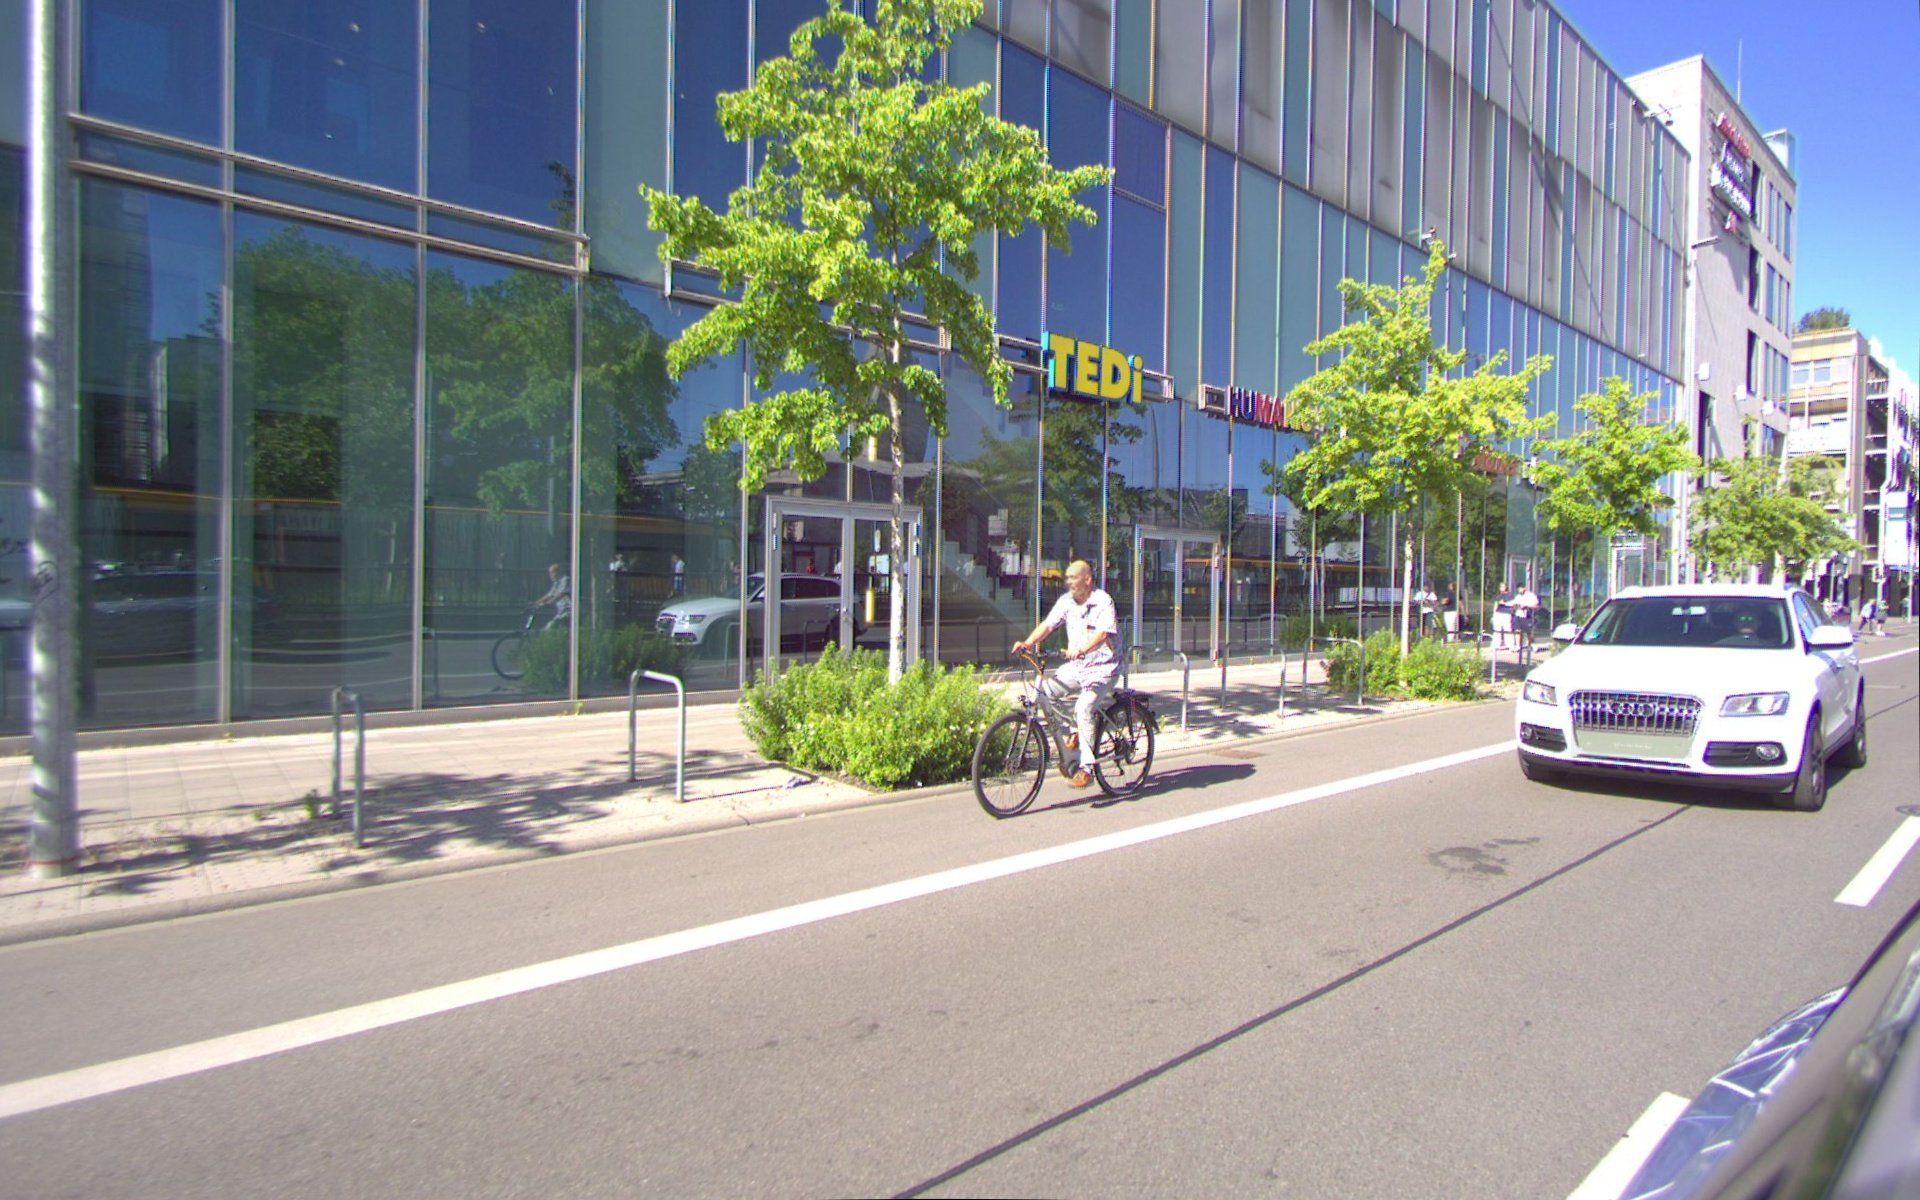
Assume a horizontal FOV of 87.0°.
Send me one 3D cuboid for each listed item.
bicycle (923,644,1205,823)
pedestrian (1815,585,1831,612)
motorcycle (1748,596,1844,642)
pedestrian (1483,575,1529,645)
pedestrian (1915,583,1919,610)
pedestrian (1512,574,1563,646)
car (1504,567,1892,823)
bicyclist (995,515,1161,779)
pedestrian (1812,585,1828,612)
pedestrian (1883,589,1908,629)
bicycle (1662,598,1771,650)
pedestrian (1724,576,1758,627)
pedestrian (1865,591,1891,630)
[{"bbox_3d":[0.826,0.872,7.318,2.294,0.996,0.729,0,0,-44],"label":"bicycle"},{"bbox_3d":[52.654,-0.088,61.778,0.659,1.632,0.519,4,3,42],"label":"pedestrian"},{"bbox_3d":[26.728,0.571,32.396,0.886,1.340,2.196,0,2,-36],"label":"motorcycle"},{"bbox_3d":[13.506,0.230,25.032,0.885,1.678,0.707,0,3,-44],"label":"pedestrian"},{"bbox_3d":[71.677,-0.252,75.149,0.945,2.039,1.064,1,1,39],"label":"pedestrian"},{"bbox_3d":[13.786,0.227,24.158,0.885,1.679,0.821,0,1,-44],"label":"pedestrian"},{"bbox_3d":[6.413,0.596,8.588,4.337,1.634,1.822,0,0,-42],"label":"car"},{"bbox_3d":[0.864,0.302,7.350,0.981,1.758,0.725,0,1,-44],"label":"bicyclist"},{"bbox_3d":[52.977,-0.084,62.343,0.659,1.632,0.519,4,3,42],"label":"pedestrian"},{"bbox_3d":[41.101,0.385,44.458,0.686,1.723,0.658,0,3,-42],"label":"pedestrian"},{"bbox_3d":[20.039,0.616,26.837,0.932,1.220,2.094,0,2,-33],"label":"bicycle"},{"bbox_3d":[28.775,0.055,37.292,1.047,1.823,0.729,0,3,-40],"label":"pedestrian"},{"bbox_3d":[39.823,0.452,43.904,0.736,1.628,0.725,1,0,-39],"label":"pedestrian"}]
